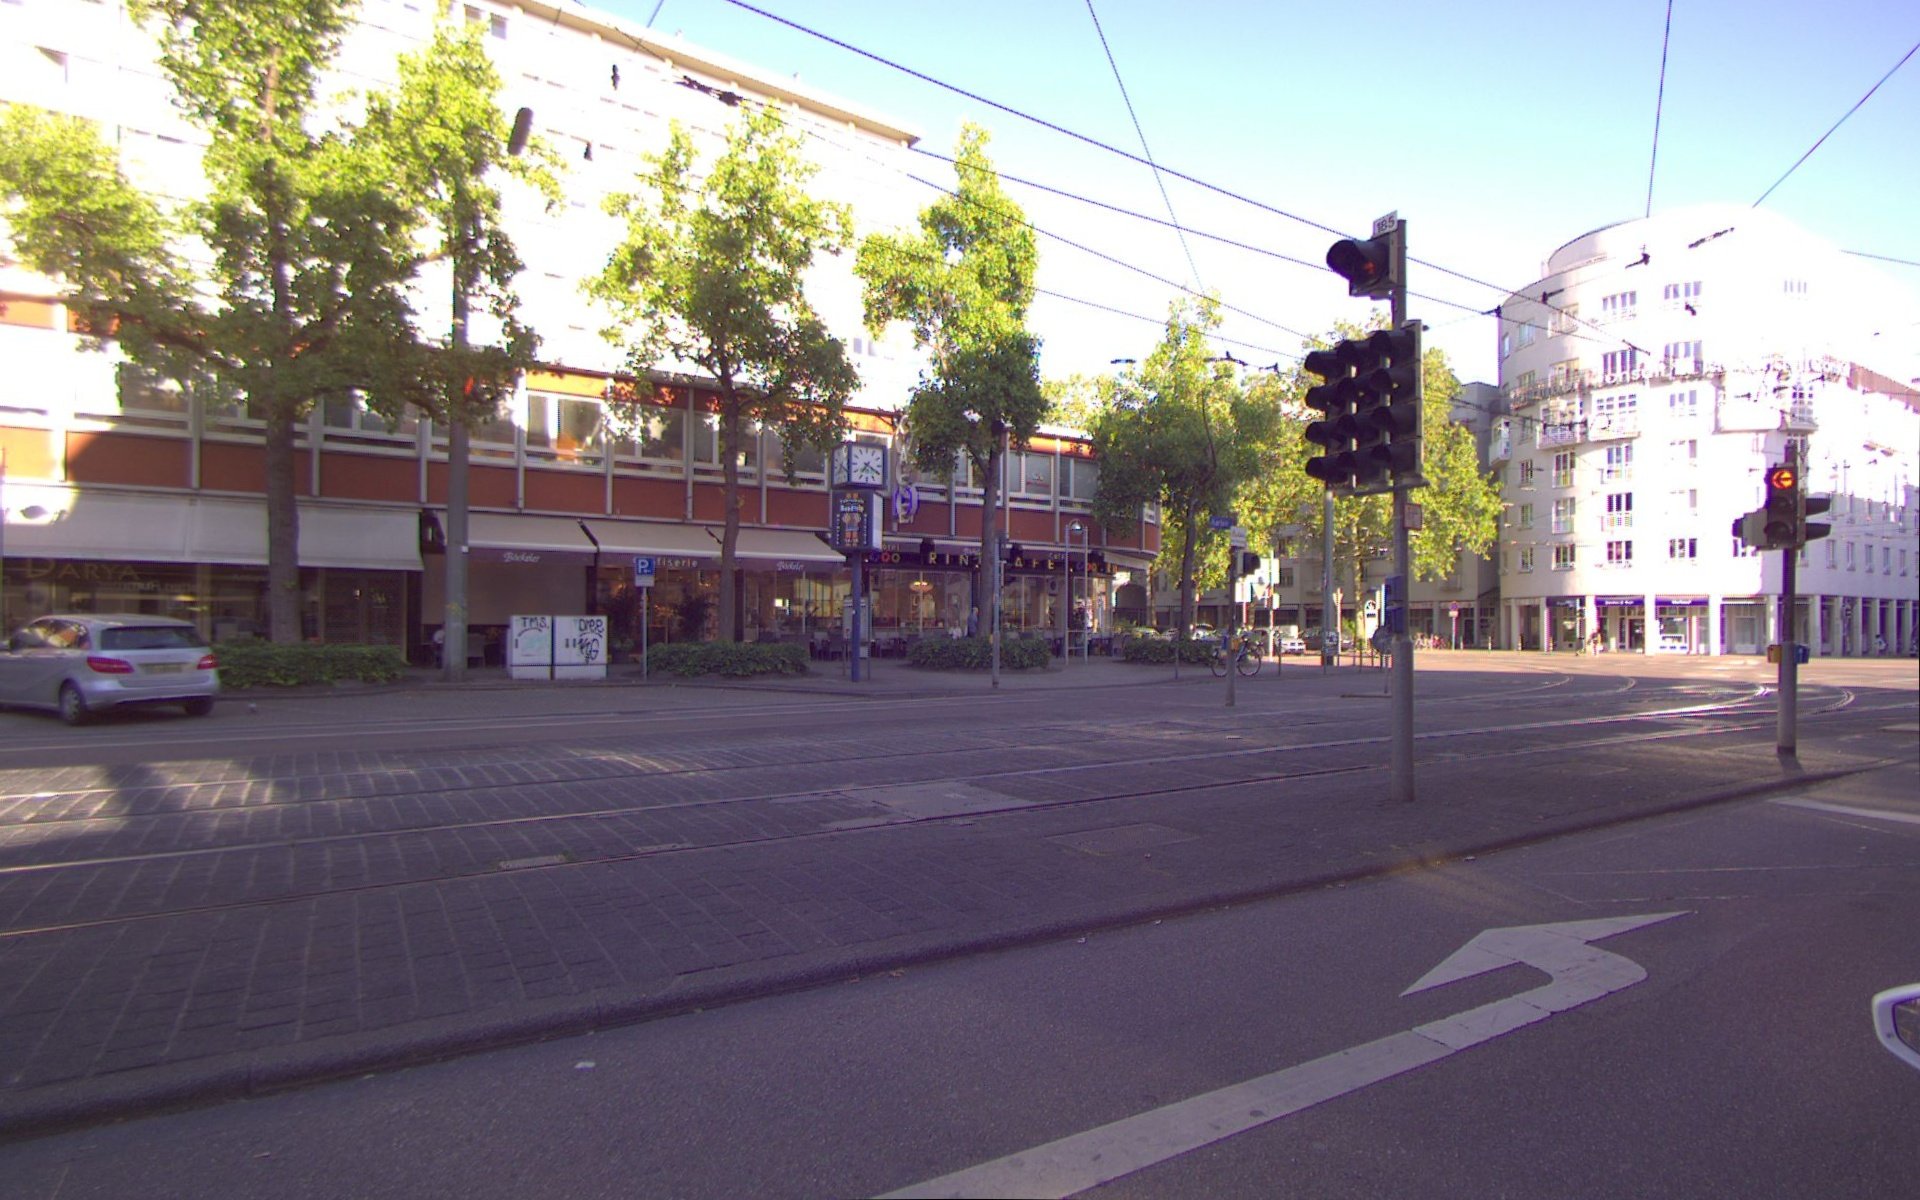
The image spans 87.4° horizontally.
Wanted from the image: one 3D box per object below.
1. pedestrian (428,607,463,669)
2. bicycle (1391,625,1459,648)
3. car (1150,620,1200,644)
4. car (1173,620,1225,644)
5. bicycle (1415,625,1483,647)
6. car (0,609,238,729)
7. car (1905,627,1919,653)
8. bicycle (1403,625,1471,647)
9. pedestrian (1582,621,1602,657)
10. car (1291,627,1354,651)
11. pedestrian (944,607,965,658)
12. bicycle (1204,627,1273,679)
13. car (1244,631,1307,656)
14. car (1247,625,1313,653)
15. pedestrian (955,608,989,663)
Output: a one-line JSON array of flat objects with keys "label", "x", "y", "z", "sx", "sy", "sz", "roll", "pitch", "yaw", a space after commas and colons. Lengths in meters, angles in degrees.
[{"label": "pedestrian", "x": -13.348, "y": 0.971, "z": 26.044, "sx": 0.699, "sy": 1.584, "sz": 0.867, "roll": 1, "pitch": -1, "yaw": -33}, {"label": "bicycle", "x": 32.886, "y": 2.548, "z": 71.122, "sx": 1.053, "sy": 1.550, "sz": 4.684, "roll": 1, "pitch": -2, "yaw": -29}, {"label": "car", "x": 18.370, "y": 2.706, "z": 85.920, "sx": 3.954, "sy": 1.990, "sz": 1.984, "roll": 1, "pitch": -1, "yaw": -31}, {"label": "car", "x": 19.851, "y": 2.667, "z": 83.410, "sx": 3.954, "sy": 1.990, "sz": 1.984, "roll": 1, "pitch": -1, "yaw": -31}, {"label": "bicycle", "x": 35.208, "y": 2.594, "z": 72.414, "sx": 1.053, "sy": 1.550, "sz": 4.684, "roll": 1, "pitch": -2, "yaw": -29}, {"label": "car", "x": -13.540, "y": 0.986, "z": 15.753, "sx": 4.200, "sy": 1.587, "sz": 1.825, "roll": 1, "pitch": -1, "yaw": 26}, {"label": "car", "x": 58.427, "y": 2.400, "z": 60.243, "sx": 3.423, "sy": 1.566, "sz": 1.756, "roll": 1, "pitch": -2, "yaw": -32}, {"label": "bicycle", "x": 33.916, "y": 2.554, "z": 71.586, "sx": 1.053, "sy": 1.550, "sz": 4.684, "roll": 1, "pitch": -2, "yaw": -29}, {"label": "pedestrian", "x": 36.192, "y": 2.200, "z": 57.511, "sx": 0.930, "sy": 2.040, "sz": 0.939, "roll": 0, "pitch": -1, "yaw": 30}, {"label": "car", "x": 24.102, "y": 2.590, "z": 66.923, "sx": 1.595, "sy": 1.551, "sz": 3.972, "roll": 0, "pitch": -1, "yaw": -27}, {"label": "pedestrian", "x": -0.201, "y": 1.119, "z": 34.968, "sx": 0.590, "sy": 1.745, "sz": 0.647, "roll": 0, "pitch": 1, "yaw": -14}, {"label": "bicycle", "x": 7.644, "y": 1.440, "z": 27.540, "sx": 1.884, "sy": 1.345, "sz": 0.667, "roll": 1, "pitch": 2, "yaw": -30}, {"label": "car", "x": 16.809, "y": 2.293, "z": 53.693, "sx": 1.738, "sy": 1.312, "sz": 4.014, "roll": 0, "pitch": -2, "yaw": -7}, {"label": "car", "x": 18.672, "y": 2.281, "z": 58.806, "sx": 1.605, "sy": 1.579, "sz": 4.001, "roll": 0, "pitch": -2, "yaw": -19}, {"label": "pedestrian", "x": 0.398, "y": 1.152, "z": 33.018, "sx": 0.866, "sy": 1.745, "sz": 0.700, "roll": 0, "pitch": 1, "yaw": -34}]
